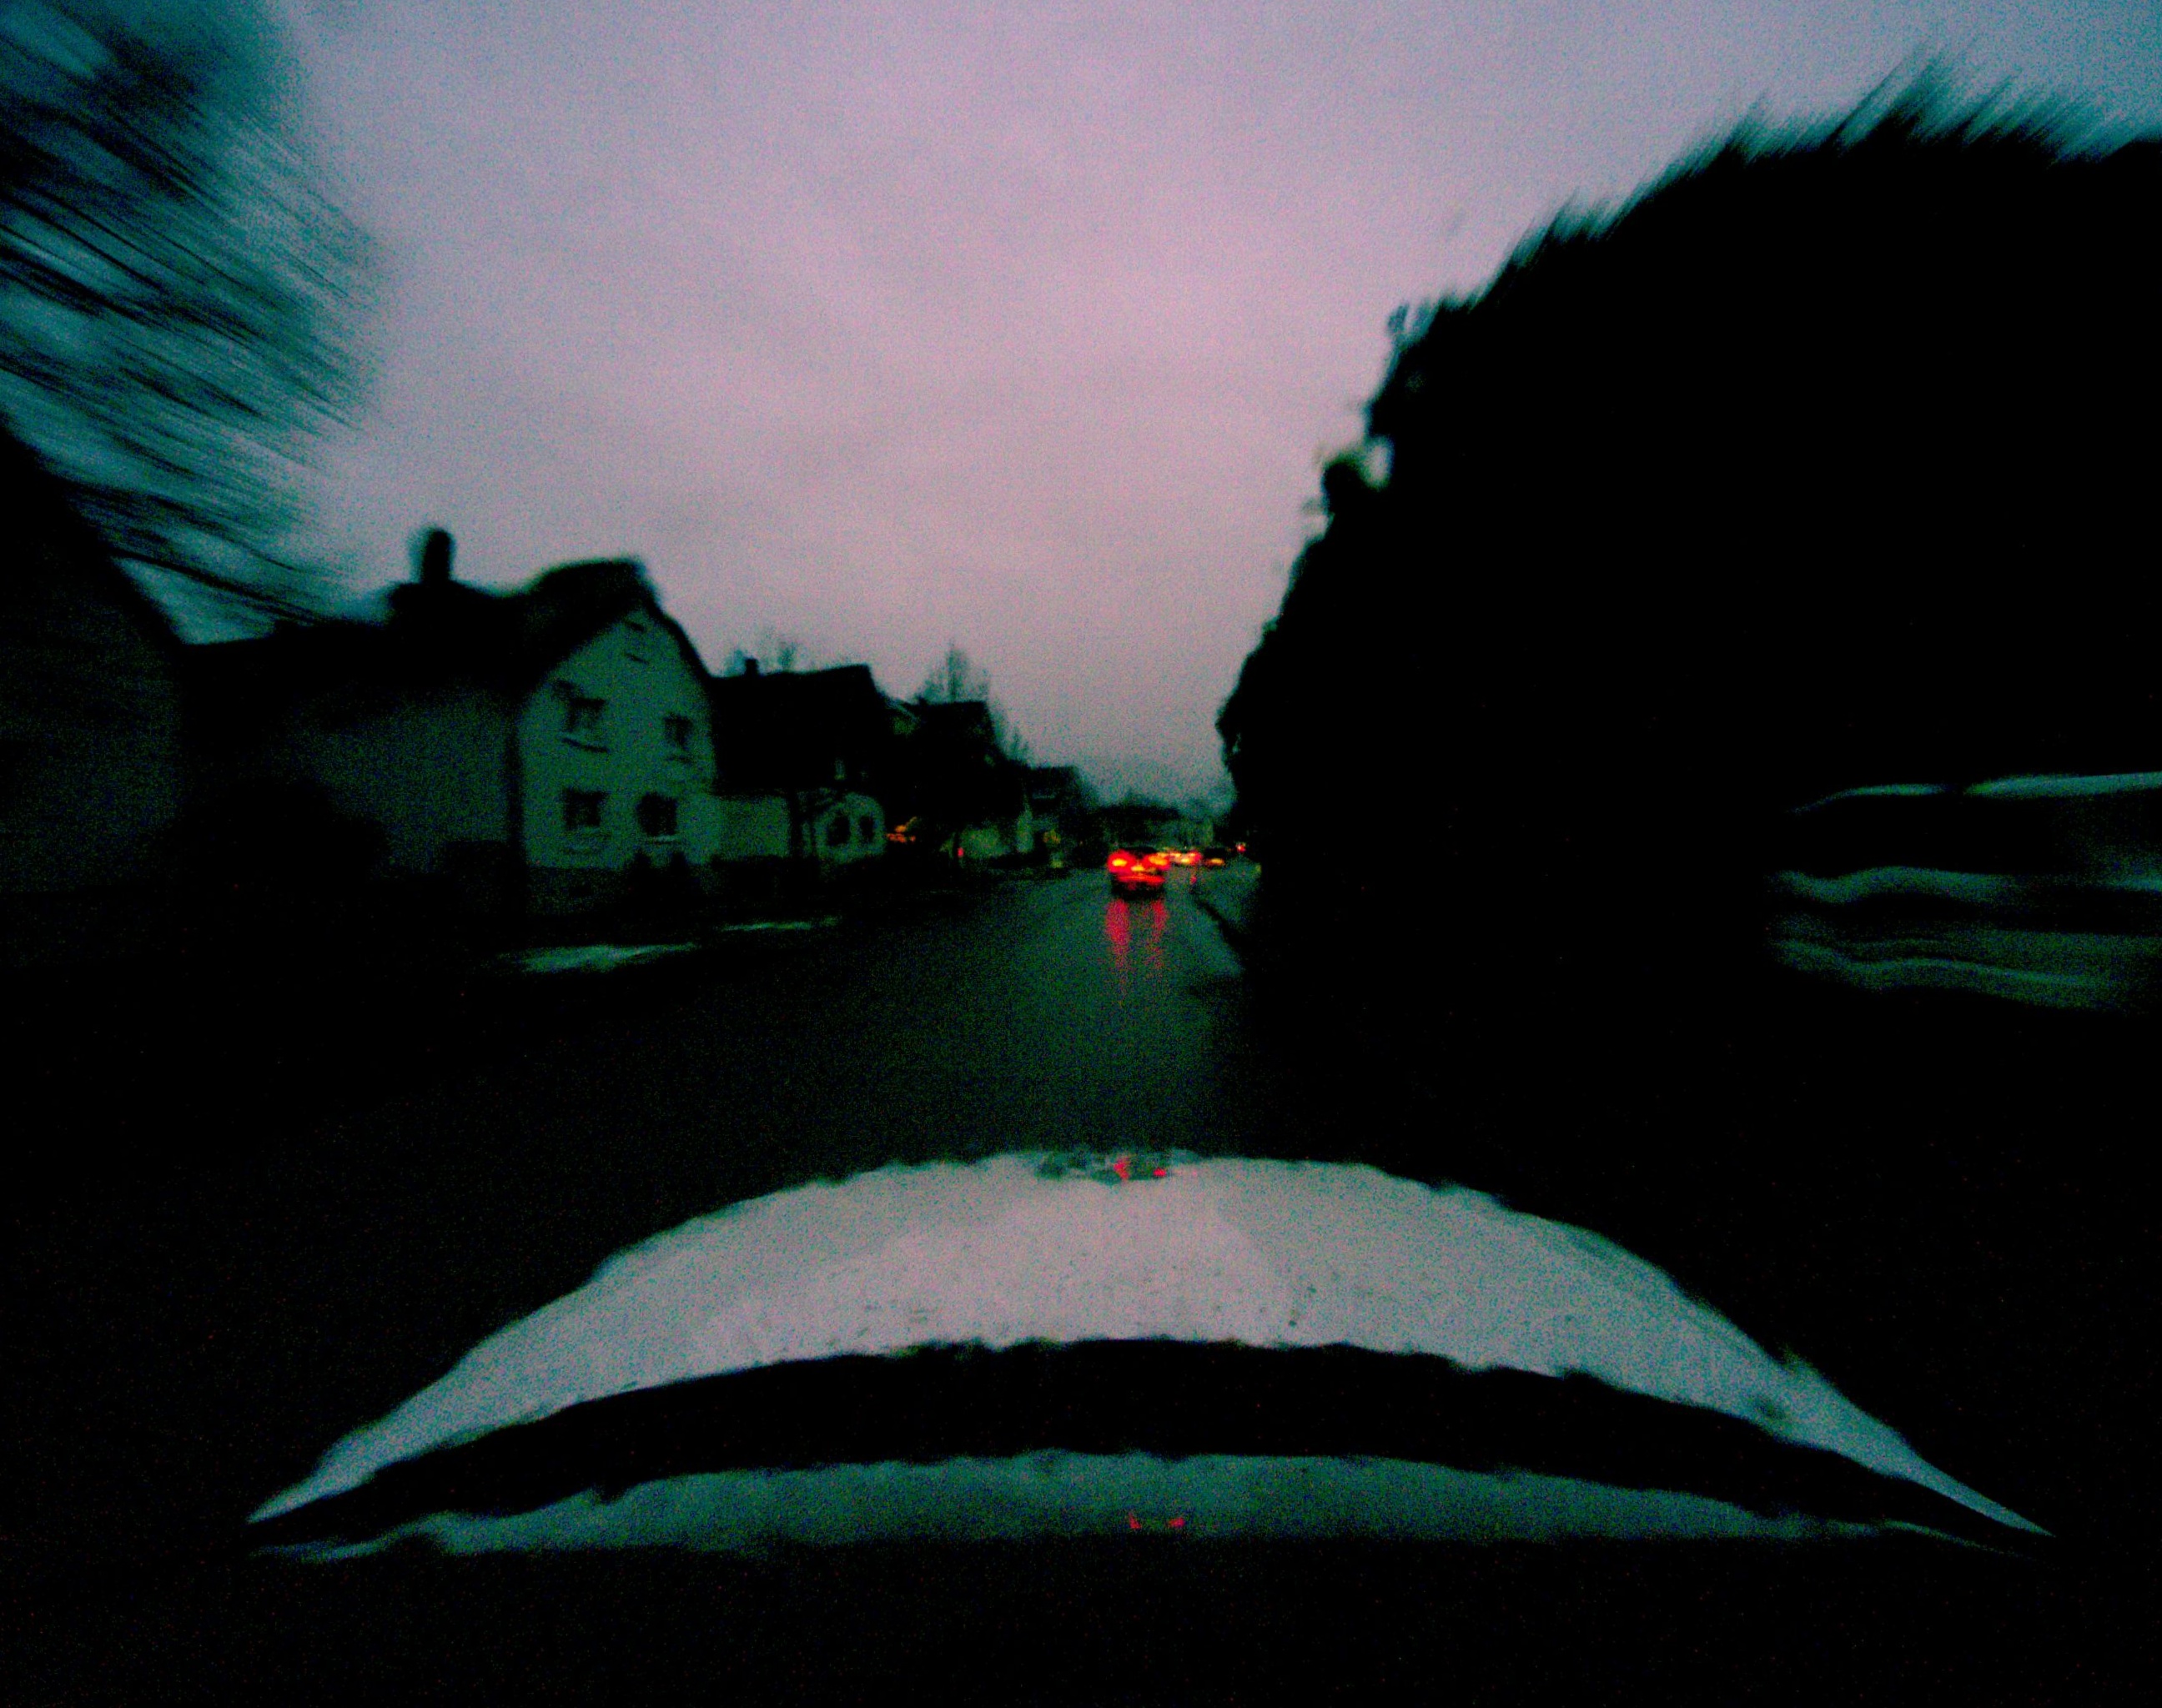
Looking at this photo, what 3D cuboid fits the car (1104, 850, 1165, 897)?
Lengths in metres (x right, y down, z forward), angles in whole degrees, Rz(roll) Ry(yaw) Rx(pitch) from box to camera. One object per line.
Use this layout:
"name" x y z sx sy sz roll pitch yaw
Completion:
"car" 1.922 0.631 28.589 1.984 1.525 4.006 0 0 5

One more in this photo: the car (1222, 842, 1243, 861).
"car" 17.434 -0.316 93.442 1.963 2.013 5.766 -3 0 13

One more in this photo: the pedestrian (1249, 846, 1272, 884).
"pedestrian" 8.674 0.519 39.324 0.981 1.742 1.059 -2 -1 10

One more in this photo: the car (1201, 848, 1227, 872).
"car" 8.880 0.410 54.212 1.639 1.540 3.400 0 0 11

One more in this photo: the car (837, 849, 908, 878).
"car" -10.075 0.454 39.703 1.770 1.366 4.012 0 0 11

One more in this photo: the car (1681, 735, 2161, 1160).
"car" 6.166 0.283 4.447 4.311 1.732 1.999 -3 0 -2

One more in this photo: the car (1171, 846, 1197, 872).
"car" 8.307 0.373 65.304 1.982 2.014 4.009 0 -1 8
